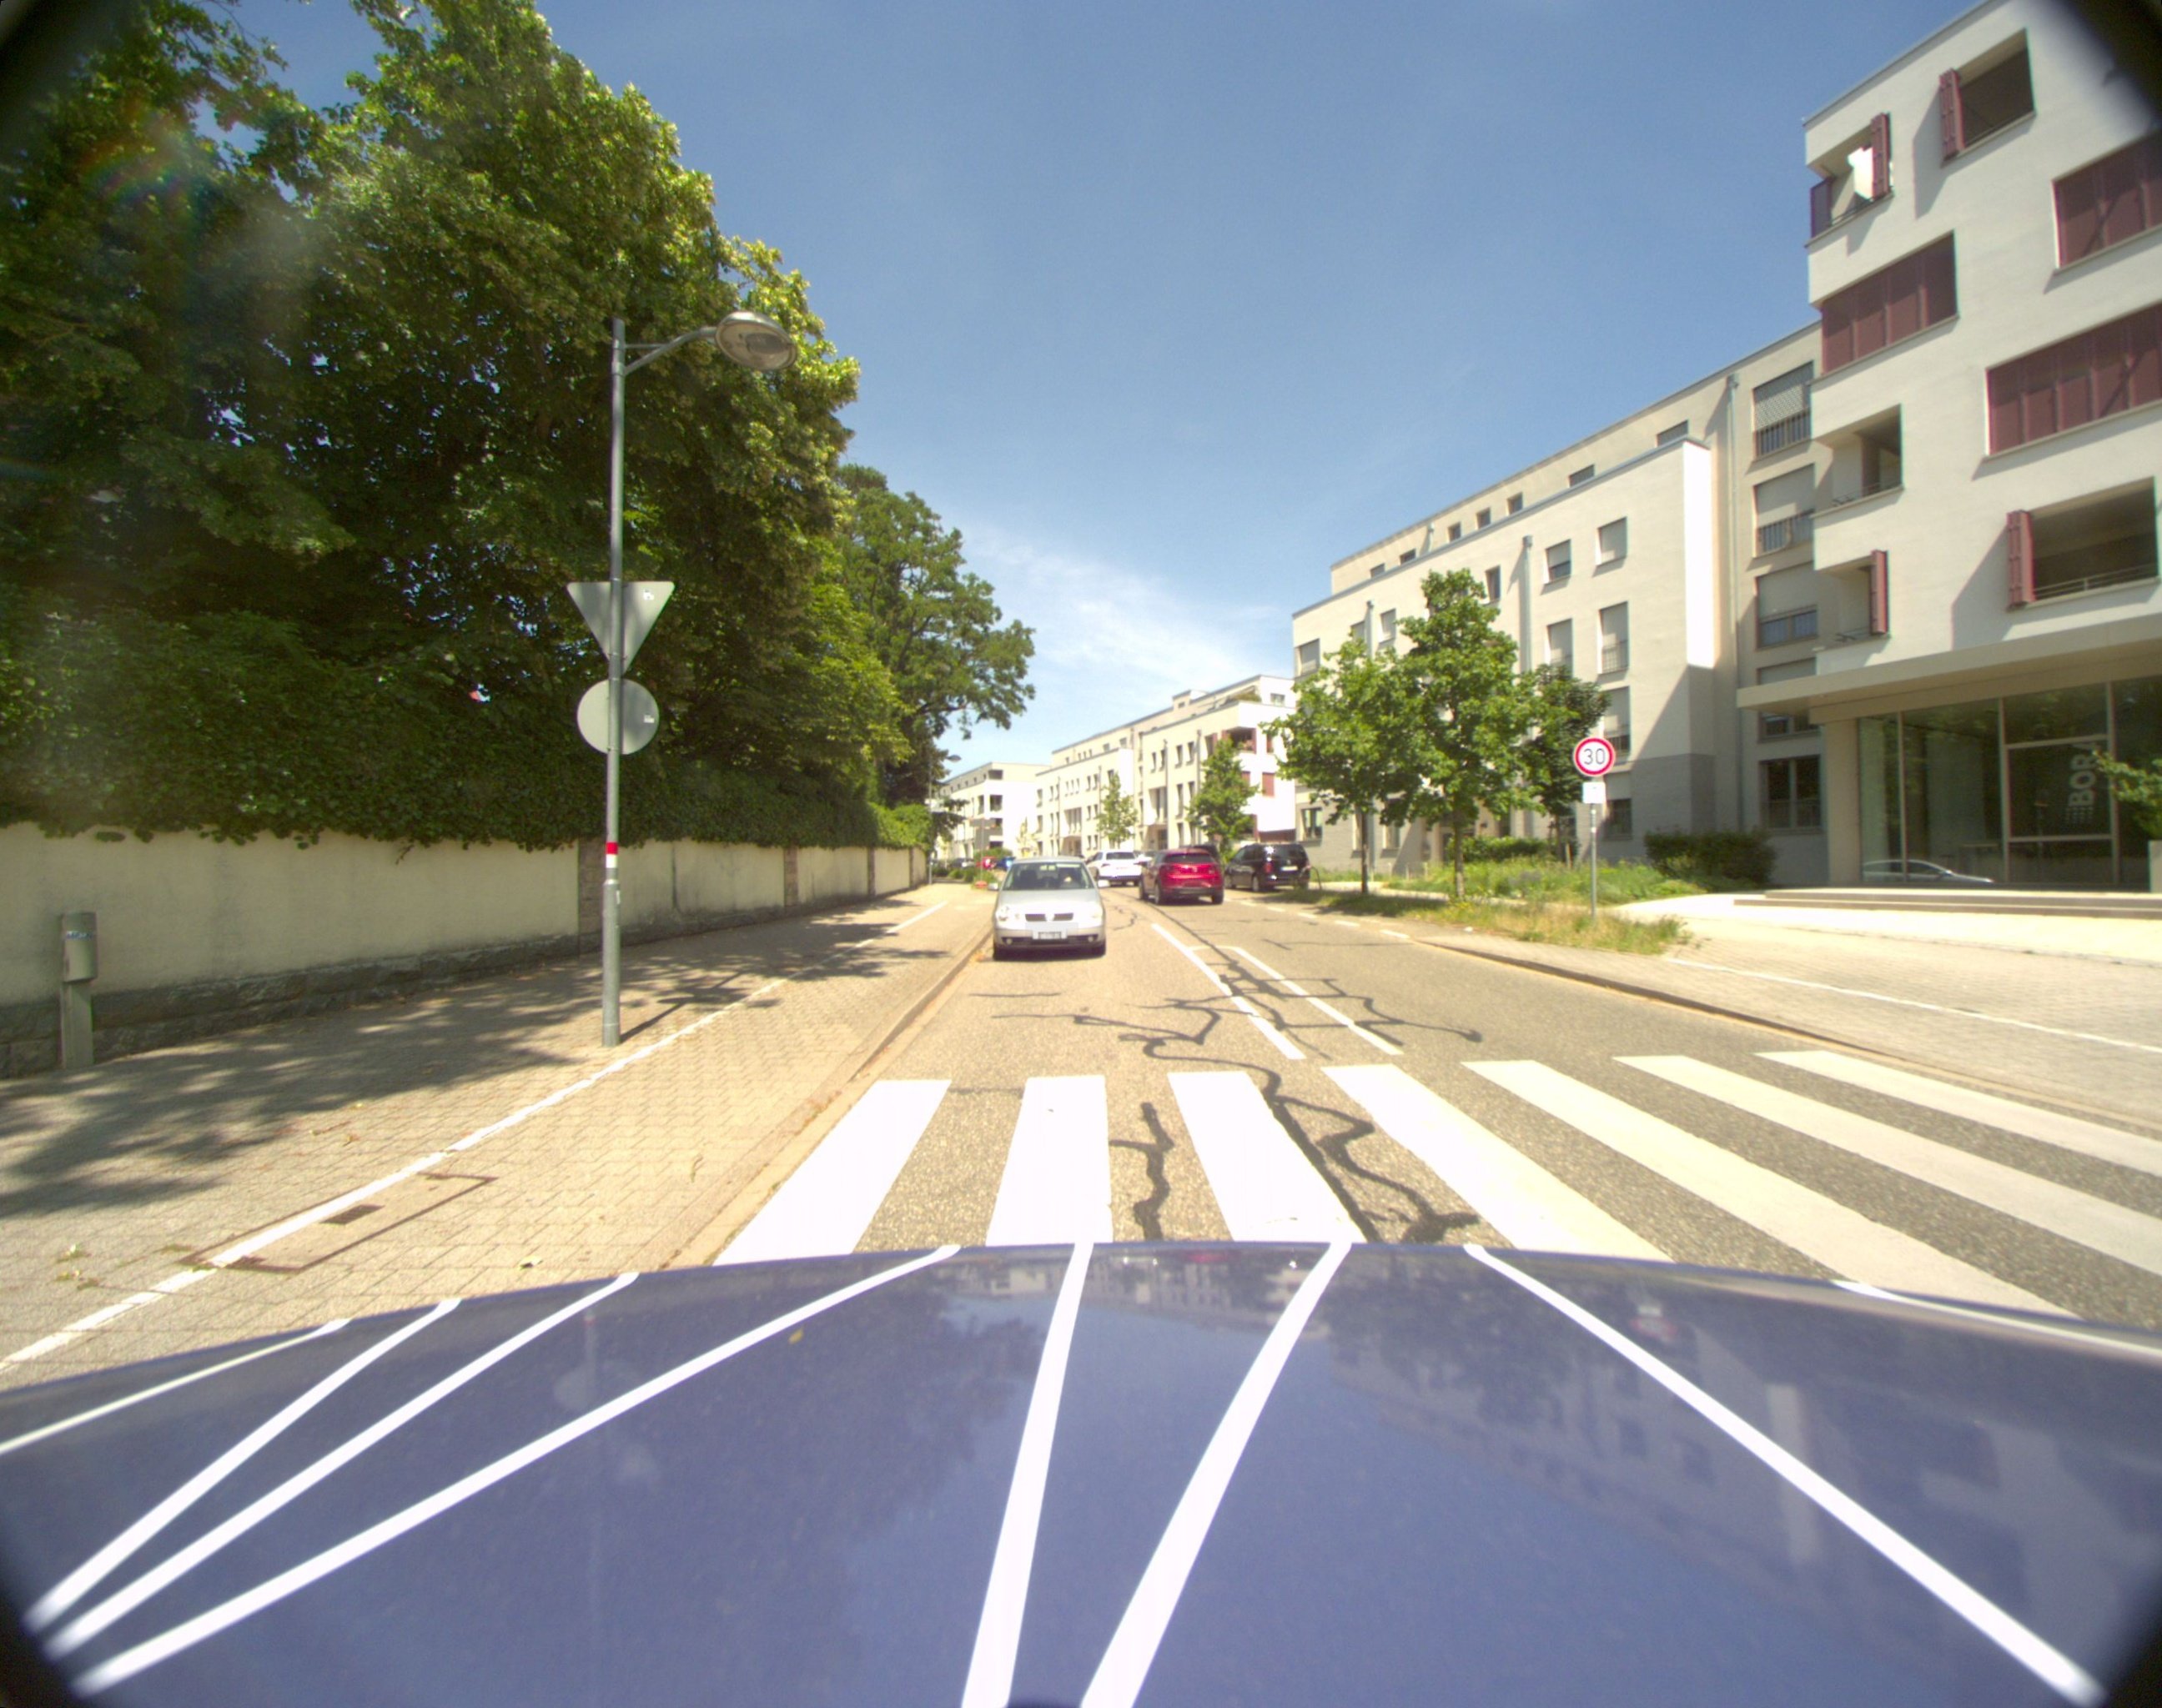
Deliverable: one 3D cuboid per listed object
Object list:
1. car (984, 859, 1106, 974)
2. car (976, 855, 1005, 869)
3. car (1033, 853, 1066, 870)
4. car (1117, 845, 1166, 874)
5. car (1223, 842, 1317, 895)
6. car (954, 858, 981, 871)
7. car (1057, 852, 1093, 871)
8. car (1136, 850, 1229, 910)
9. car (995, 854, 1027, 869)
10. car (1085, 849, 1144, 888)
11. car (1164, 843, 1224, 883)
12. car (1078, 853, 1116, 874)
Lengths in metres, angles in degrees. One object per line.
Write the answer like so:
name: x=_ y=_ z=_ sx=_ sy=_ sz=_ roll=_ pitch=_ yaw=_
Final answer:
car: x=-0.468 y=0.850 z=12.177 sx=1.607 sy=1.443 sz=3.999 roll=-1 pitch=1 yaw=0
car: x=-9.354 y=0.803 z=78.214 sx=1.710 sy=1.405 sz=3.713 roll=-2 pitch=1 yaw=-29
car: x=-2.689 y=0.619 z=64.478 sx=1.709 sy=1.405 sz=3.715 roll=-2 pitch=1 yaw=-20
car: x=3.470 y=0.290 z=43.896 sx=1.792 sy=1.580 sz=3.623 roll=-1 pitch=1 yaw=-13
car: x=6.304 y=0.440 z=25.833 sx=1.699 sy=1.628 sz=4.017 roll=-1 pitch=1 yaw=-8
car: x=-12.595 y=1.114 z=83.872 sx=1.710 sy=1.405 sz=3.713 roll=-2 pitch=1 yaw=-29
car: x=-0.476 y=0.565 z=58.106 sx=1.708 sy=1.405 sz=3.715 roll=-2 pitch=1 yaw=-18
car: x=2.742 y=0.660 z=21.462 sx=1.756 sy=1.496 sz=3.990 roll=-1 pitch=0 yaw=-5
car: x=-6.791 y=0.715 z=73.347 sx=1.710 sy=1.405 sz=3.713 roll=-2 pitch=1 yaw=-29
car: x=1.419 y=0.581 z=33.628 sx=1.816 sy=1.599 sz=4.117 roll=-1 pitch=1 yaw=-8
car: x=5.060 y=0.368 z=34.522 sx=1.699 sy=1.690 sz=3.624 roll=-1 pitch=1 yaw=-8
car: x=1.056 y=0.631 z=52.746 sx=1.708 sy=1.405 sz=3.622 roll=-1 pitch=1 yaw=-15
